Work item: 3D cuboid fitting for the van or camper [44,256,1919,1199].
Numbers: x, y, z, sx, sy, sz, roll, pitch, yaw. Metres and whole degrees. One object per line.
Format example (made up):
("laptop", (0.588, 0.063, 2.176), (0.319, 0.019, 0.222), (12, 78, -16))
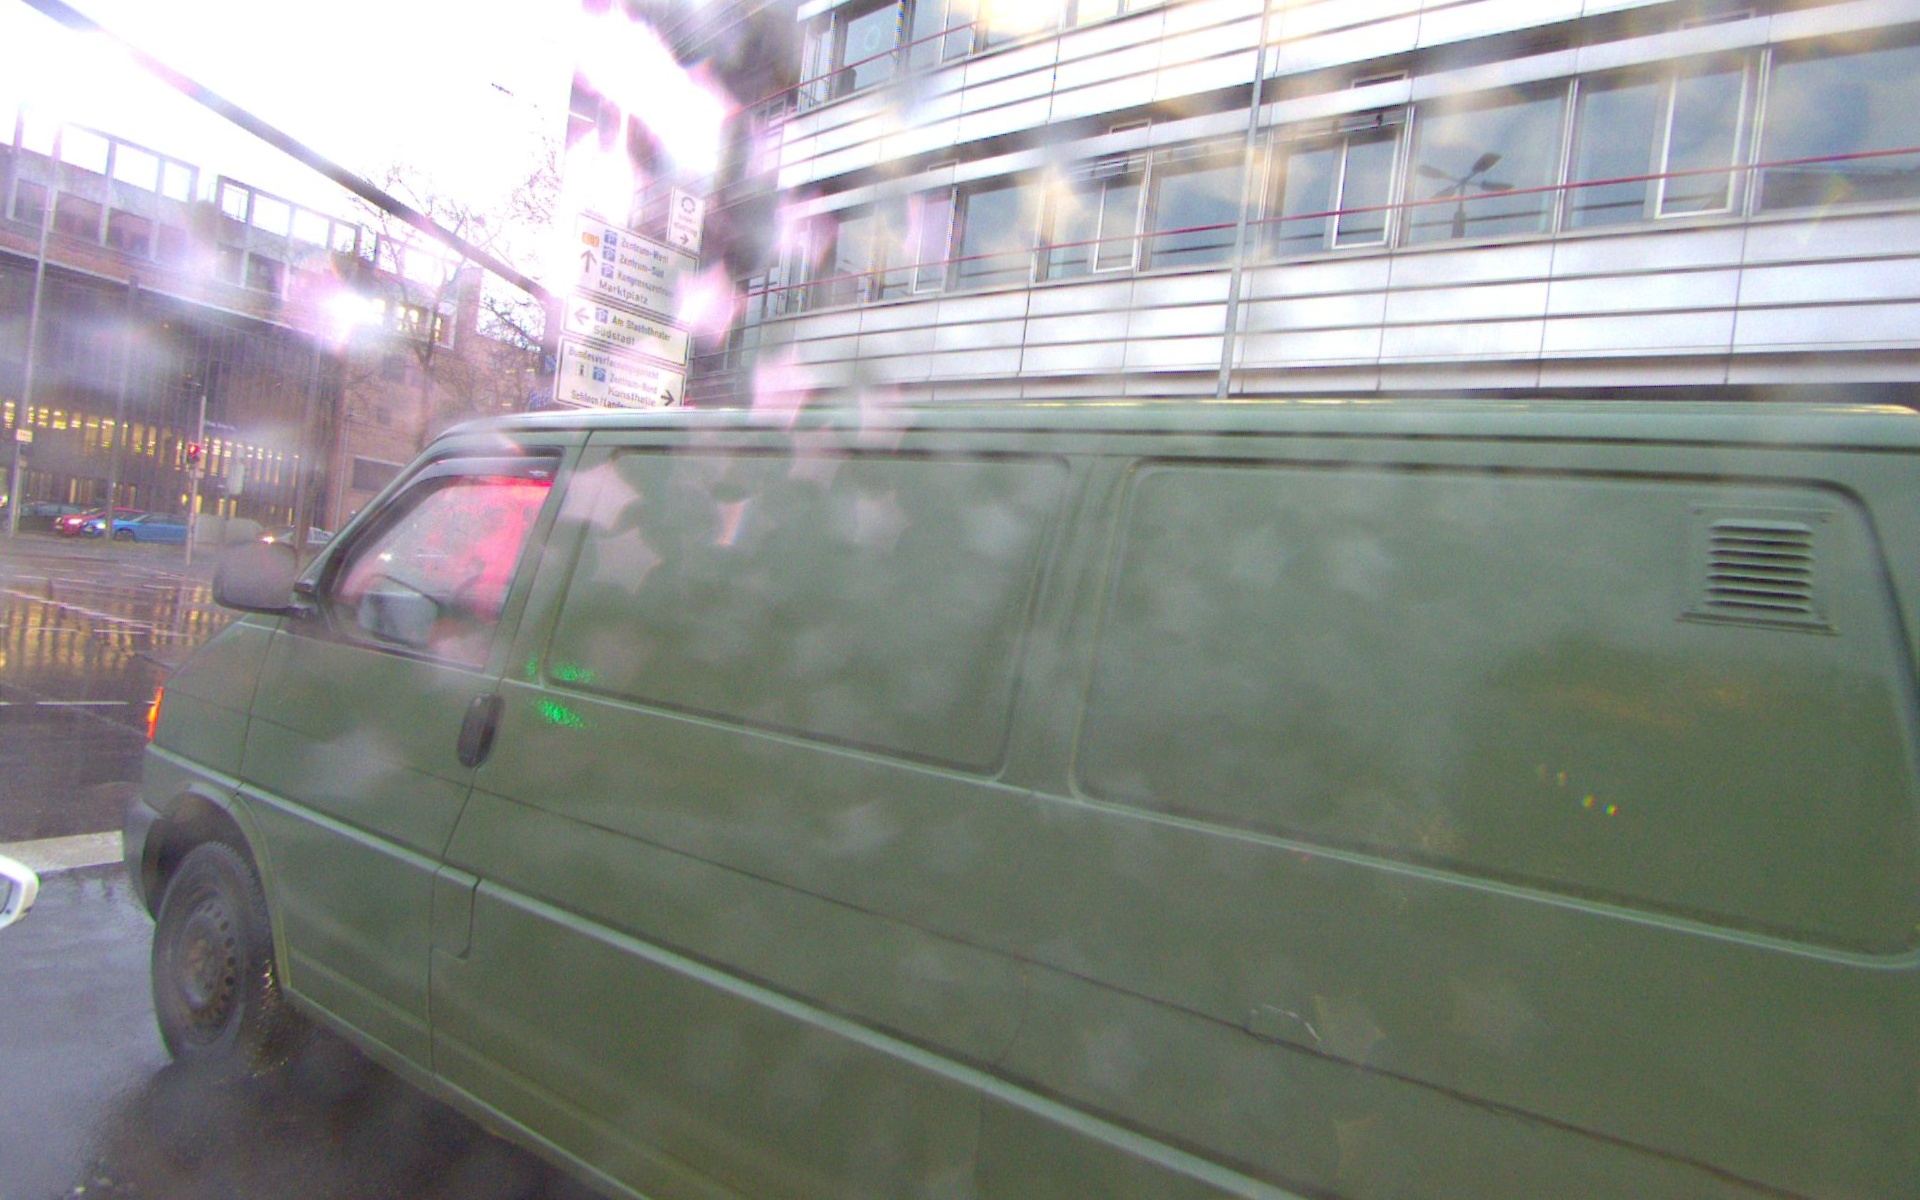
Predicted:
("van or camper", (-0.358, 0.543, 2.643), (4.345, 1.929, 1.760), (7, -1, 32))

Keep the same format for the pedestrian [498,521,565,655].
("pedestrian", (-7.314, -0.199, 17.191), (0.609, 2.210, 0.576), (6, 0, 26))

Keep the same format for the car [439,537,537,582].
("car", (-23.587, -1.991, 50.423), (1.814, 1.621, 3.997), (11, 1, 26))

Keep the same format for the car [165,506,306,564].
("car", (-28.328, -2.518, 39.458), (1.814, 1.523, 3.997), (11, 1, 26))

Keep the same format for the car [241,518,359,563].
("car", (-29.660, -2.669, 45.321), (1.814, 1.304, 3.997), (11, 1, 26))

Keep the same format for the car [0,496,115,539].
("car", (-39.234, -3.576, 43.225), (1.965, 1.326, 3.994), (7, 0, 28))

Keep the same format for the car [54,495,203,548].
("car", (-32.464, -3.043, 39.399), (1.814, 1.278, 3.997), (11, 1, 26))

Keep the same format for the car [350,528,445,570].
("car", (-30.192, -2.711, 54.147), (1.814, 1.523, 3.997), (11, 1, 26))

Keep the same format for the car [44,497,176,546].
("car", (-35.507, -3.261, 42.117), (1.814, 1.278, 3.729), (11, 1, 26))
